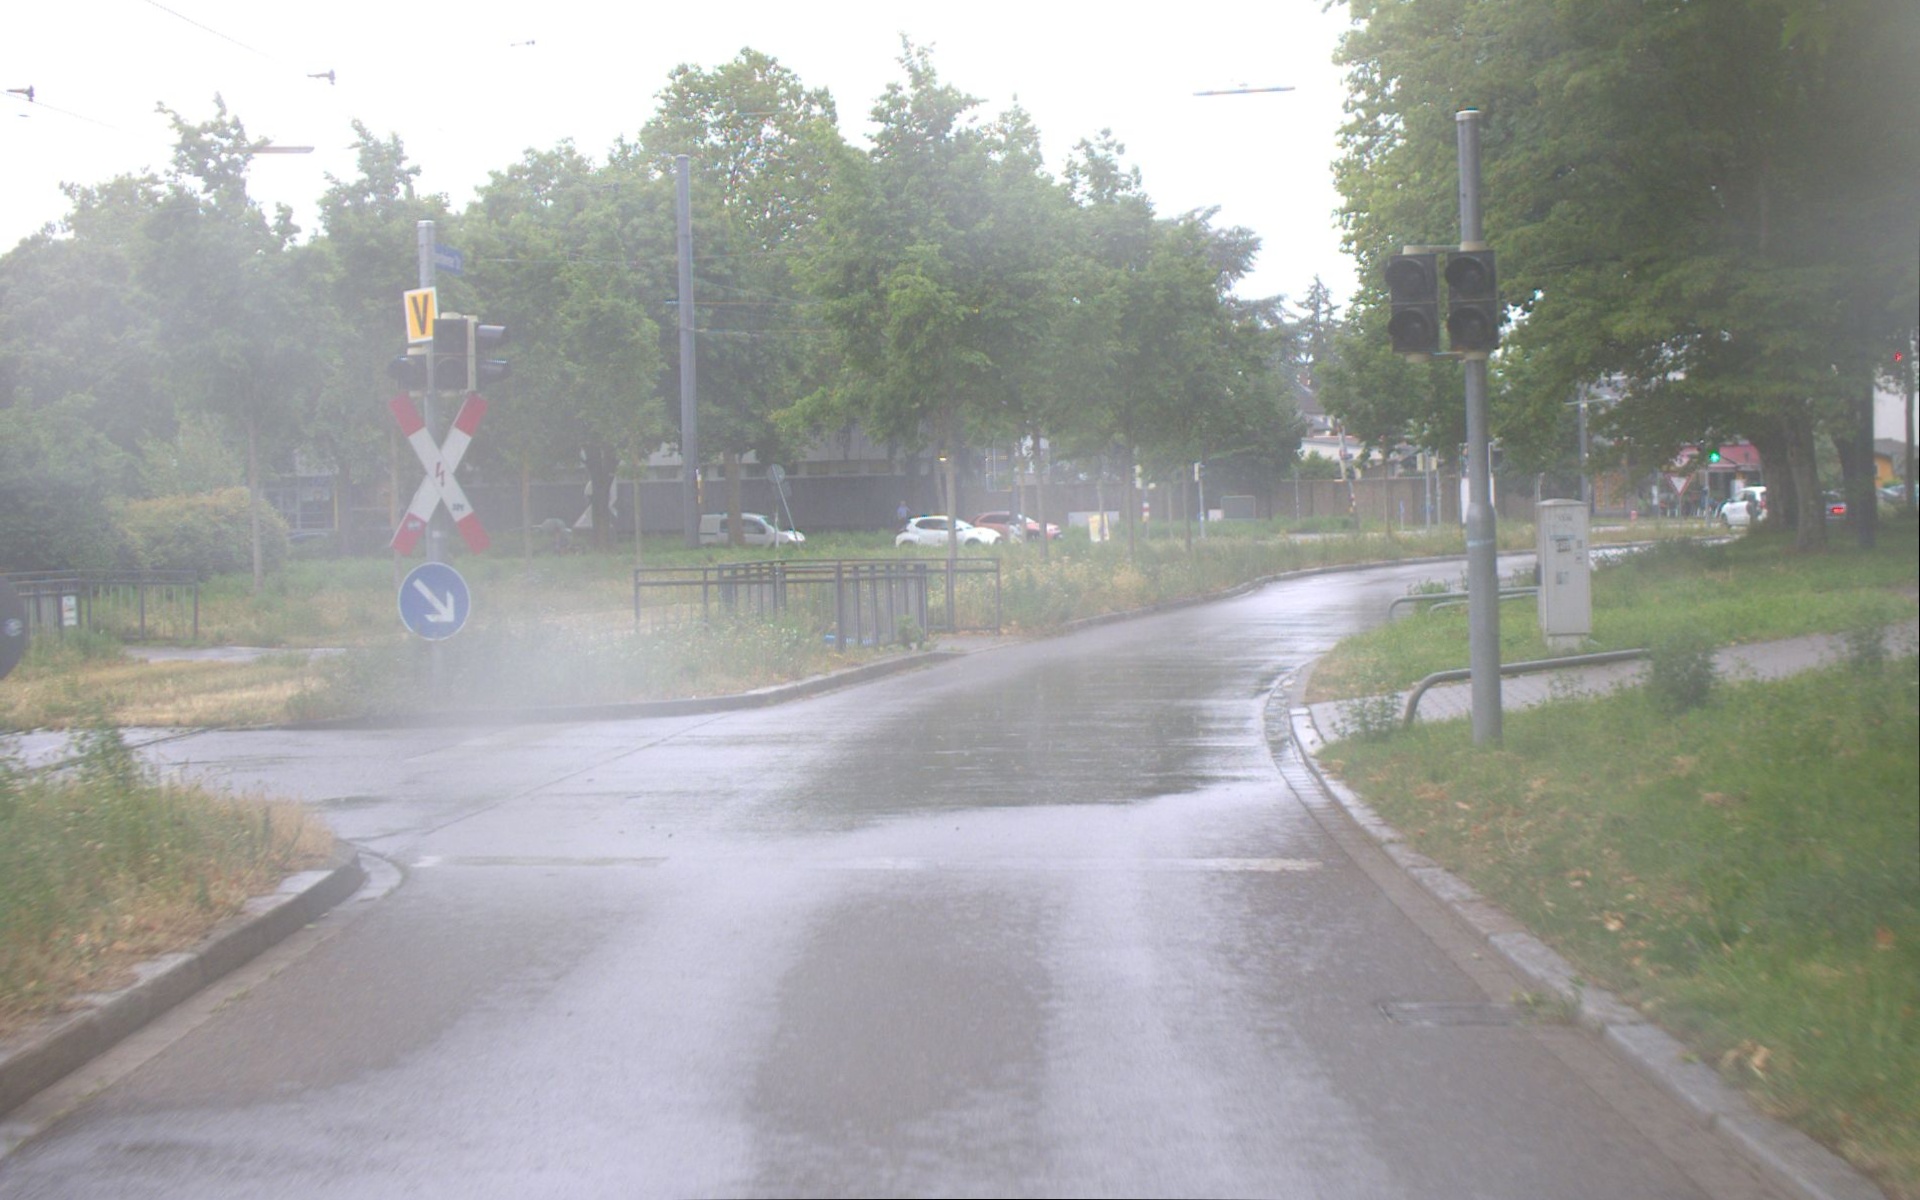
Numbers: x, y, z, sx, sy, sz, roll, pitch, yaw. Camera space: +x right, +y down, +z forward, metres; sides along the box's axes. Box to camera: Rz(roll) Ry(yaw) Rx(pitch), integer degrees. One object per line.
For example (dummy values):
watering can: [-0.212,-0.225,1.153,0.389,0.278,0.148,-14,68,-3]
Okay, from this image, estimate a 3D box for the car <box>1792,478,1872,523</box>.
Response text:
car: [29.041,-3.313,114.586,1.684,1.415,3.816,-2,2,1]

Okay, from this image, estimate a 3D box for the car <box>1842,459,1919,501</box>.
car: [44.752,-5.783,165.282,4.143,1.853,1.670,-1,1,34]

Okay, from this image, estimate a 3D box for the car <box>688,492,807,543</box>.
car: [-8.179,-3.170,132.401,4.213,1.790,1.651,-1,3,19]

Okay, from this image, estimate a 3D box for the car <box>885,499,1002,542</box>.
car: [-0.630,-2.999,129.785,4.068,1.493,1.651,-2,1,16]

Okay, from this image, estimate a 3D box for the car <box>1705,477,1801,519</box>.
car: [28.625,-3.680,124.165,1.533,1.415,4.001,-3,2,-17]

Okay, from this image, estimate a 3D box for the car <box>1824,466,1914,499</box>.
car: [42.921,-5.551,162.381,3.756,1.437,1.760,-1,2,31]
